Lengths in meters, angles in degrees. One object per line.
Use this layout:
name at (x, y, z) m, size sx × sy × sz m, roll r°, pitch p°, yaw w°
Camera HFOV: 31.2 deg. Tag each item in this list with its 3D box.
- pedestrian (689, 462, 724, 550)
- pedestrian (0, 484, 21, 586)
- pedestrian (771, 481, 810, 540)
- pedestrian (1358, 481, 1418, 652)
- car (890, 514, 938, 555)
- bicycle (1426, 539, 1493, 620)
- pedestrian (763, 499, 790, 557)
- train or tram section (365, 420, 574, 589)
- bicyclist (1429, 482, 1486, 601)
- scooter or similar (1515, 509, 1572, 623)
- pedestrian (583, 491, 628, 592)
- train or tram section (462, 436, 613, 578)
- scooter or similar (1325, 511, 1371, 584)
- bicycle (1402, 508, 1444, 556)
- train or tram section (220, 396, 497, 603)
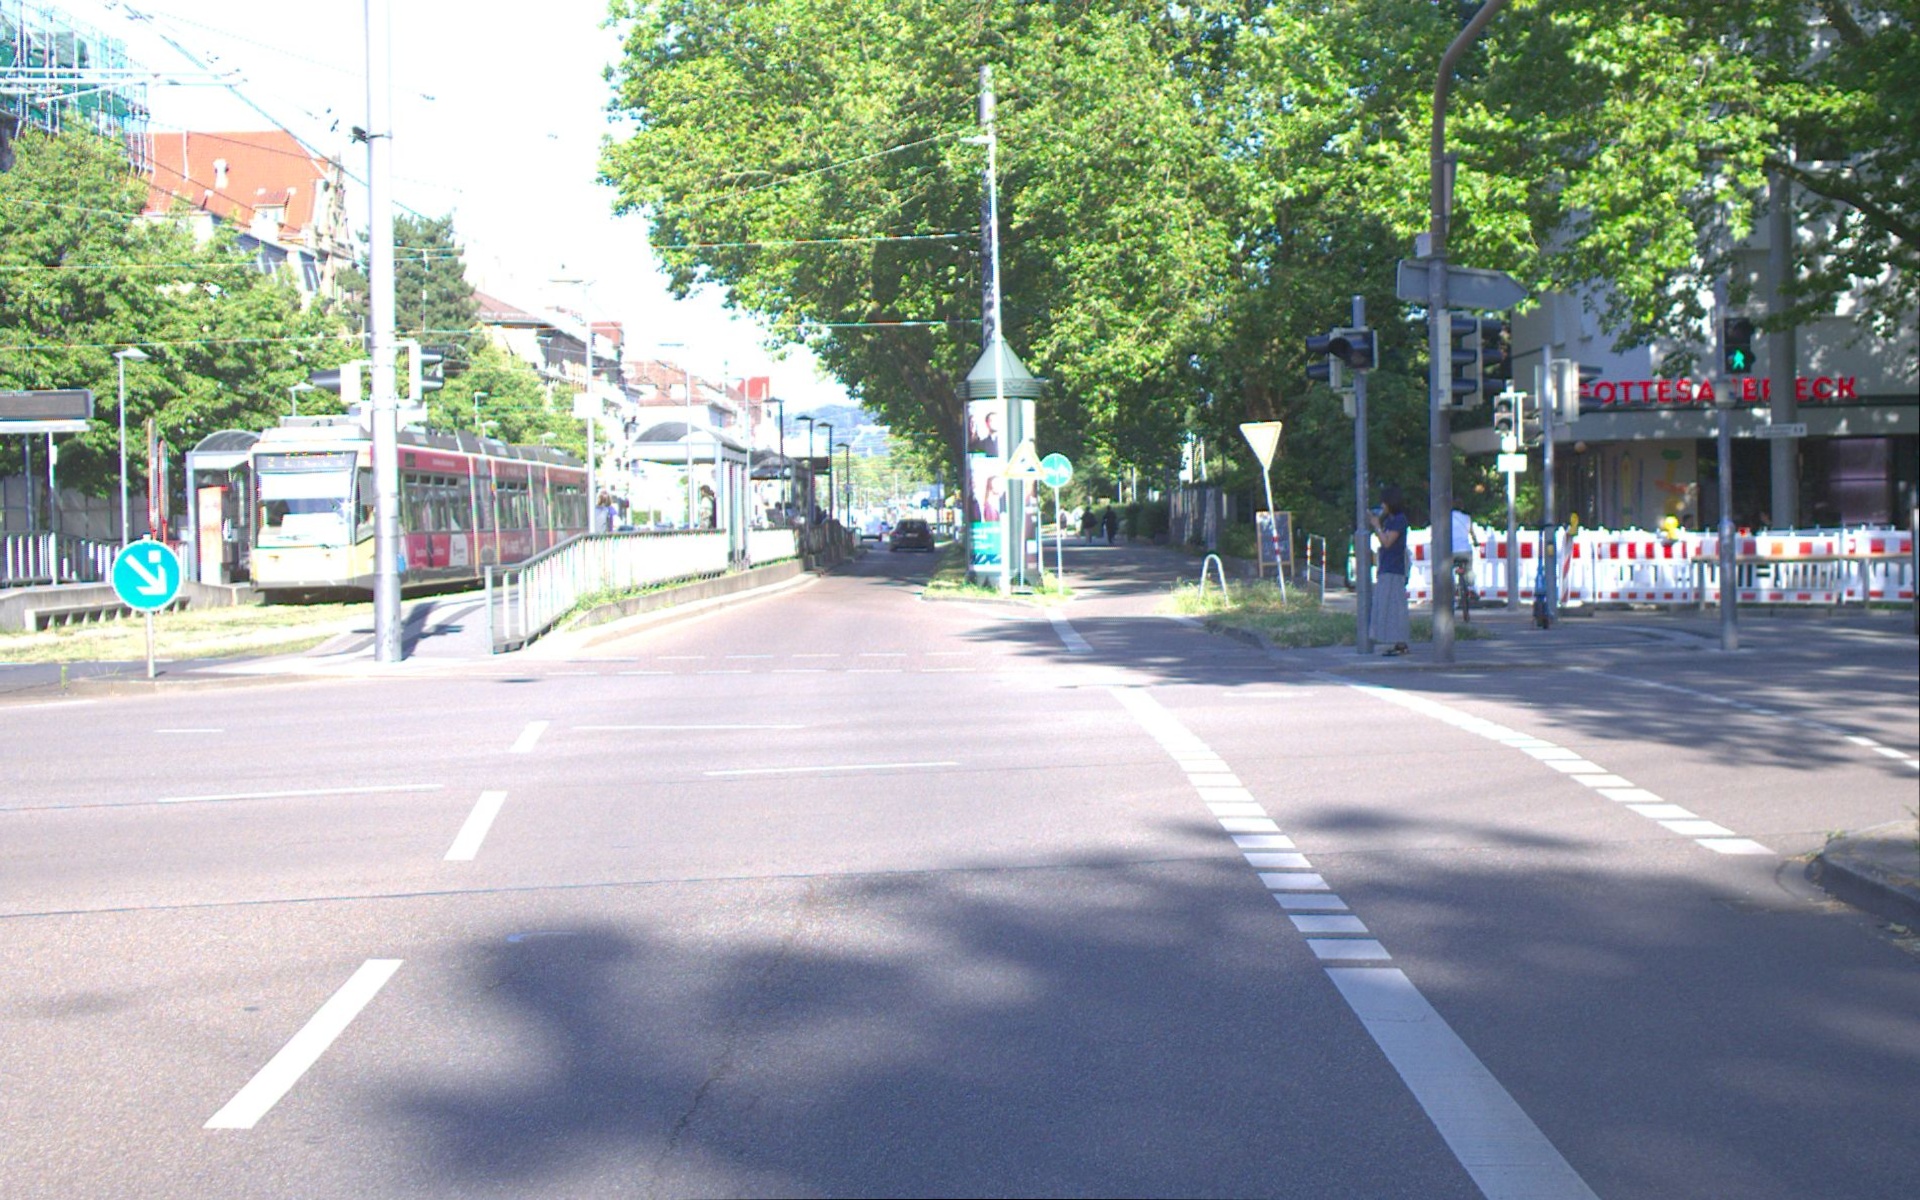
pedestrian at (-5.490, -2.035, 74.453) m, size 0.669 × 1.896 × 0.824 m, roll 1°, pitch 1°, yaw -1°
pedestrian at (-15.126, -1.015, 53.298) m, size 0.899 × 1.575 × 0.958 m, roll 1°, pitch 1°, yaw -2°
pedestrian at (-4.926, -2.597, 99.747) m, size 0.907 × 1.716 × 0.631 m, roll 0°, pitch 1°, yaw -33°
pedestrian at (4.145, -0.329, 33.294) m, size 0.427 × 1.633 × 0.613 m, roll 0°, pitch 2°, yaw -7°
car at (-1.979, -2.831, 148.091) m, size 1.993 × 1.678 × 4.000 m, roll 1°, pitch 1°, yaw 0°
bicycle at (6.571, -0.282, 45.293) m, size 0.603 × 1.023 × 1.767 m, roll -1°, pitch 1°, yaw -1°
pedestrian at (-5.052, -1.982, 94.537) m, size 0.678 × 1.556 × 0.851 m, roll 1°, pitch 1°, yaw 0°
train or tram section at (-11.692, -2.285, 83.489) m, size 2.869 × 3.673 × 14.561 m, roll -1°, pitch 1°, yaw 0°
bicyclist at (6.558, -0.775, 45.328) m, size 0.603 × 1.545 × 0.860 m, roll -1°, pitch 1°, yaw 0°
scooter or similar at (6.583, -0.392, 38.811) m, size 0.560 × 1.253 × 1.289 m, roll -2°, pitch 1°, yaw 8°
pedestrian at (-5.733, -0.950, 55.611) m, size 0.629 × 1.604 × 0.982 m, roll 1°, pitch 1°, yaw -2°
train or tram section at (-11.644, -2.565, 95.614) m, size 2.869 × 3.673 × 9.685 m, roll -1°, pitch 1°, yaw 0°
scooter or similar at (6.889, -0.930, 61.097) m, size 0.560 × 1.253 × 1.290 m, roll -2°, pitch 1°, yaw -4°
bicycle at (11.615, -1.710, 86.263) m, size 0.789 × 1.173 × 1.820 m, roll 1°, pitch 1°, yaw 0°
train or tram section at (-11.773, -1.971, 68.947) m, size 2.869 × 3.663 × 14.561 m, roll -1°, pitch 1°, yaw 0°
